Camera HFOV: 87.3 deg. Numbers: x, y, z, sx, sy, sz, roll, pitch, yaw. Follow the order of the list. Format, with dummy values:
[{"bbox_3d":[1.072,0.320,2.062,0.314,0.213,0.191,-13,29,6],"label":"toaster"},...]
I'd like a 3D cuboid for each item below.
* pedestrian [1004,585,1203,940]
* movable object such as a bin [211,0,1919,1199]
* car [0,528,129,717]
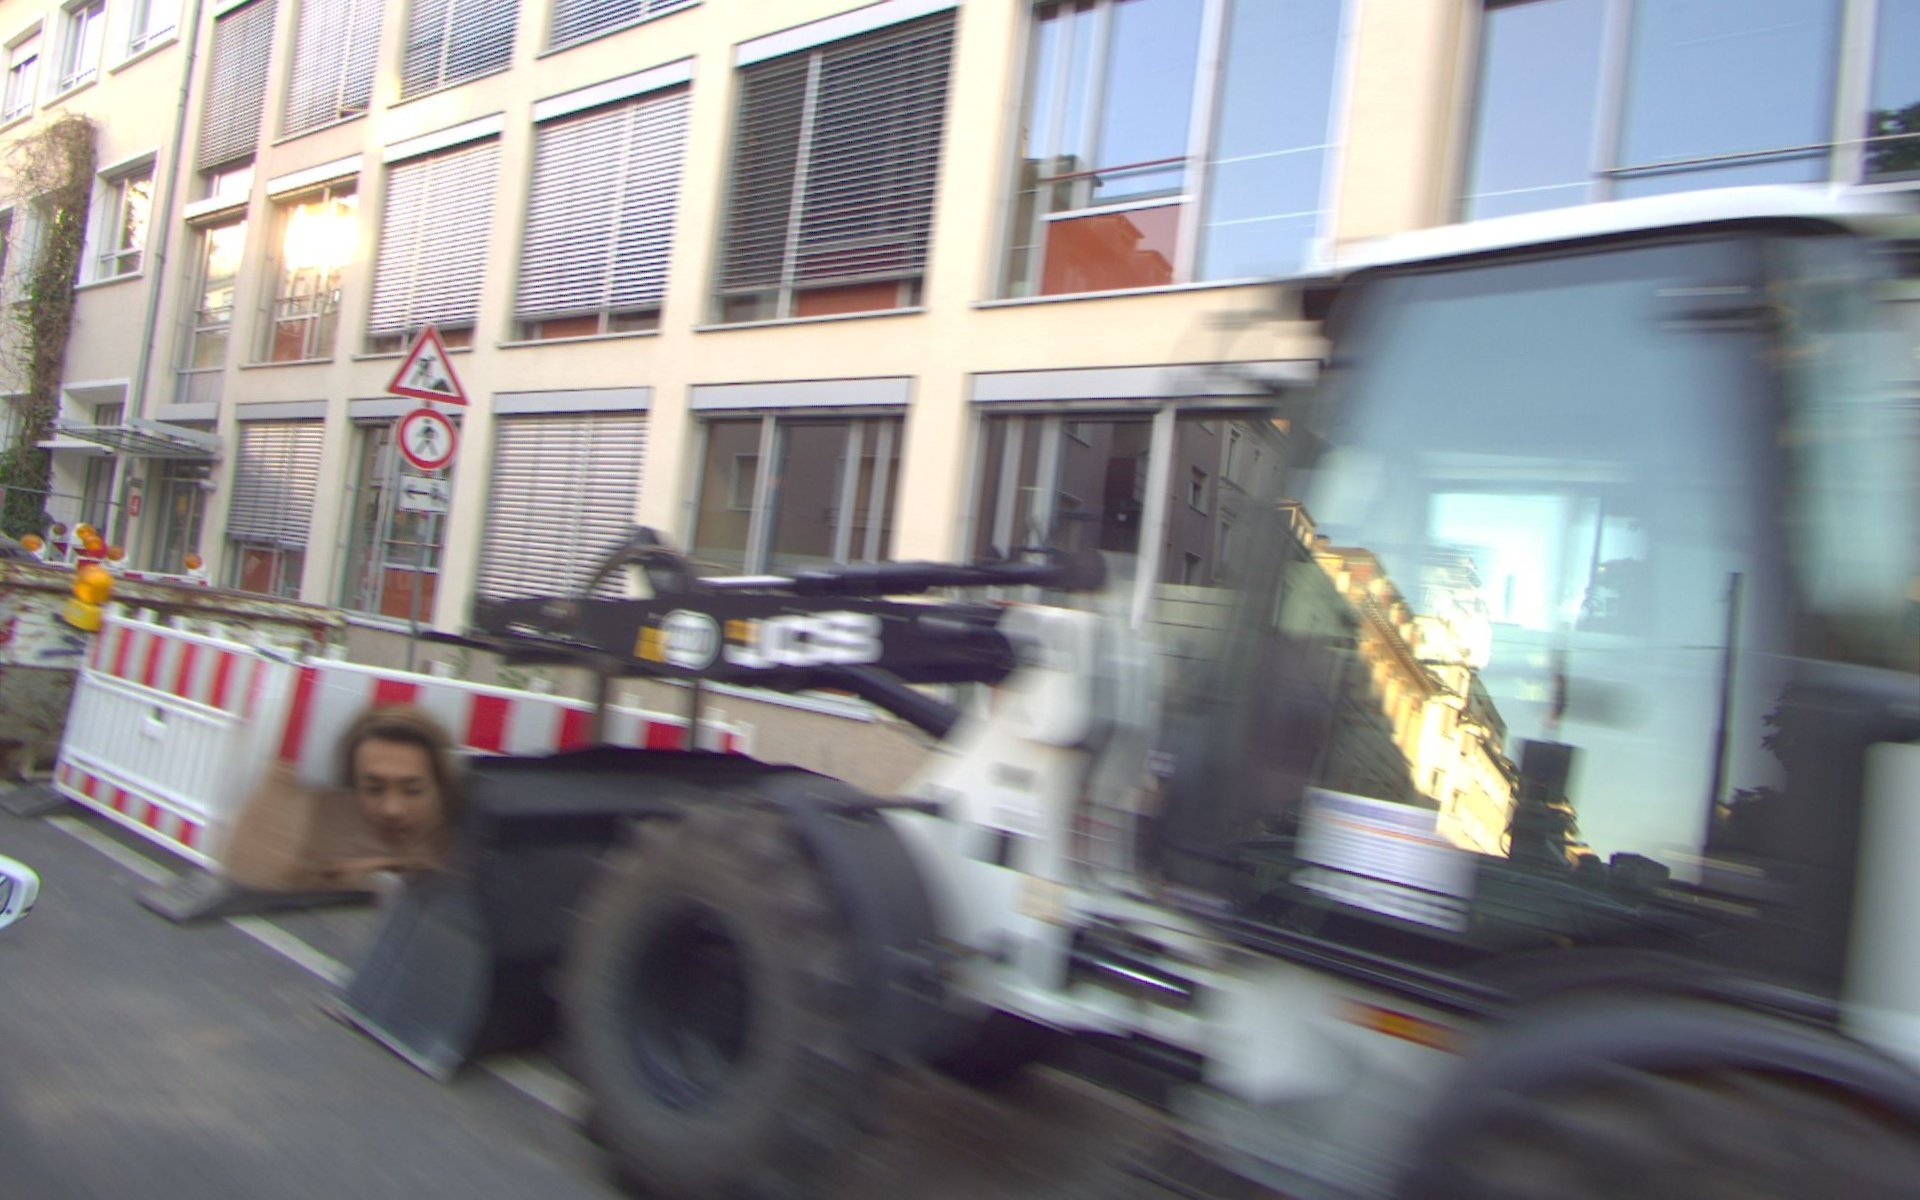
[{"bbox_3d":[0.854,0.896,5.882,0.710,1.841,0.806,6,-1,31],"label":"pedestrian"},{"bbox_3d":[0.336,0.324,3.069,5.657,2.650,2.022,6,-4,33],"label":"movable object such as a bin"},{"bbox_3d":[-9.697,-0.031,9.205,4.373,1.487,1.793,6,-5,32],"label":"car"}]
